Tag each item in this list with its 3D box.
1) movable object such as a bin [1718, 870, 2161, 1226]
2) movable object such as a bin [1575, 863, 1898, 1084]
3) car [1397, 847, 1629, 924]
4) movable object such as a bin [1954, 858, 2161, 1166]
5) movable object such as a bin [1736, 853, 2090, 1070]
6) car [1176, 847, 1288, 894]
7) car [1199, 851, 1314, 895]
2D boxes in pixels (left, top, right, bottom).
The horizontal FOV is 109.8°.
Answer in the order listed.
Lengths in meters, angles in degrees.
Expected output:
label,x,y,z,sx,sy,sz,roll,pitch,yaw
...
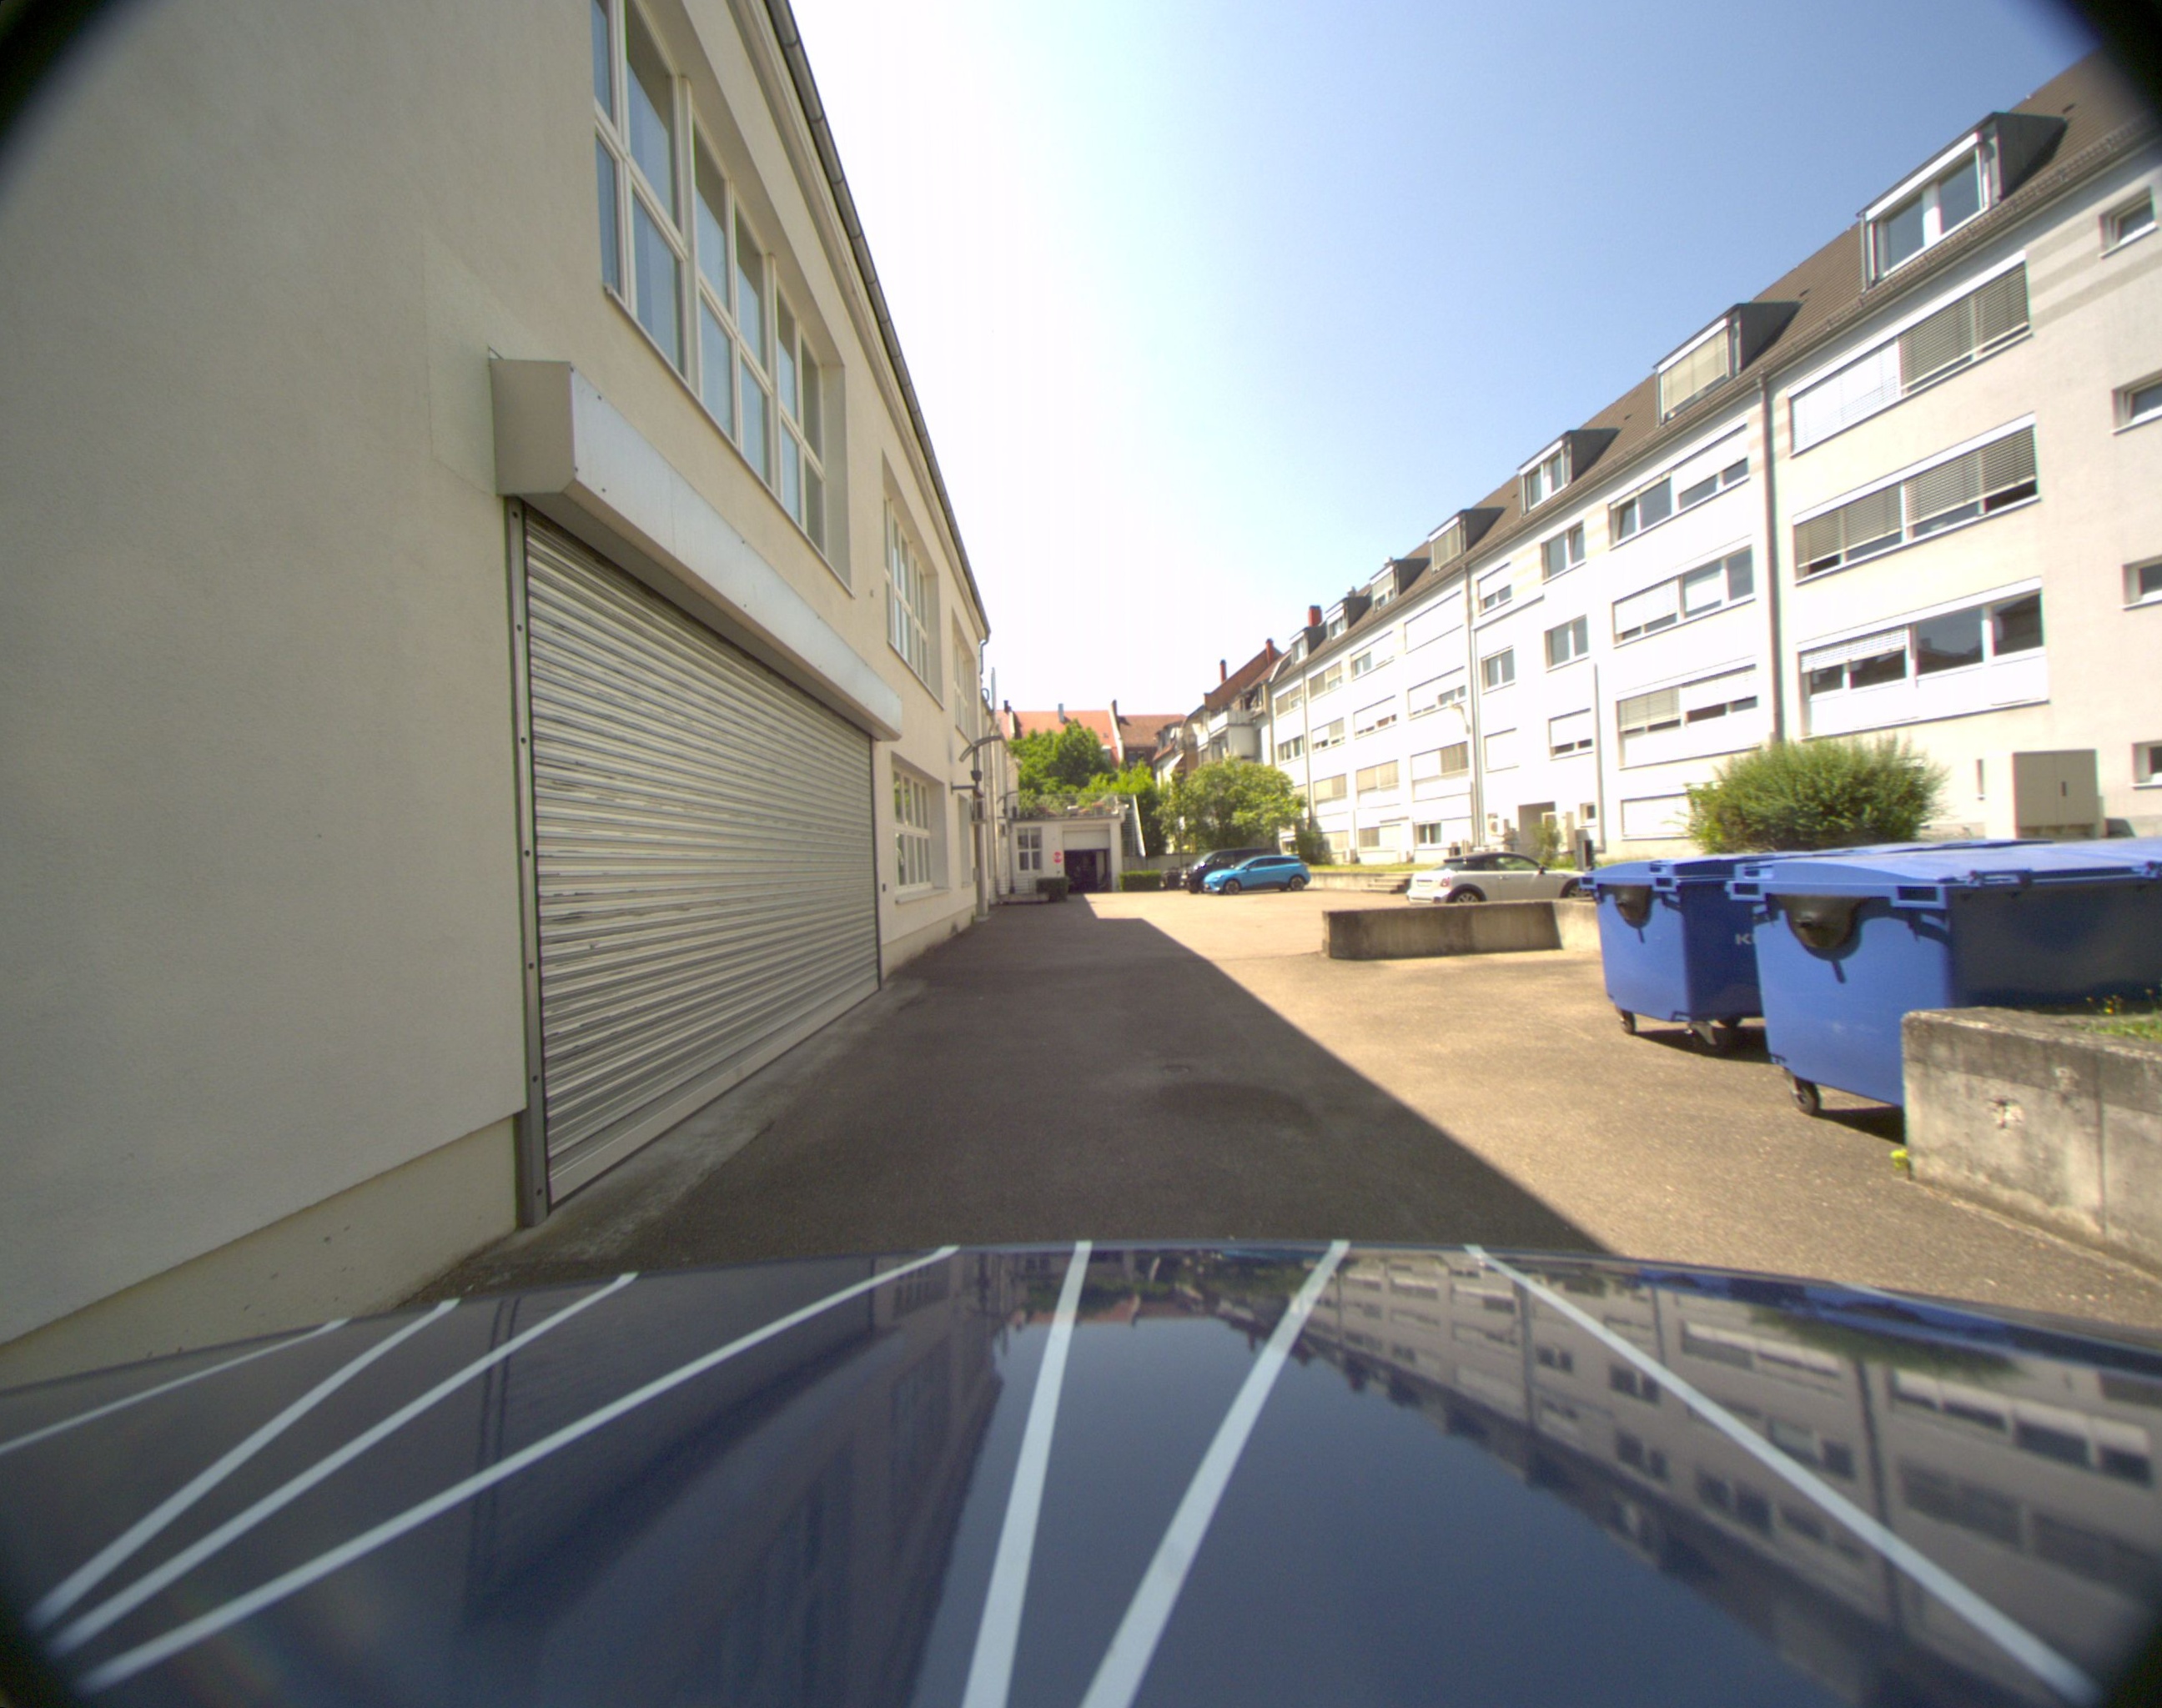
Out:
label,x,y,z,sx,sy,sz,roll,pitch,yaw
movable object such as a bin,4.088,0.771,3.541,1.257,1.320,1.104,-3,0,-1
movable object such as a bin,4.483,0.758,5.330,1.257,1.320,1.104,-3,0,-1
car,9.106,0.628,16.191,3.999,1.428,1.710,-2,0,-5
movable object such as a bin,5.409,0.702,3.584,1.257,1.320,1.104,-3,0,-1
movable object such as a bin,5.793,0.689,5.404,1.257,1.320,1.104,-3,0,-1
car,6.686,0.708,33.850,4.449,1.821,1.999,-3,0,-4
car,7.179,0.770,31.255,4.169,1.544,1.859,-3,0,-6
